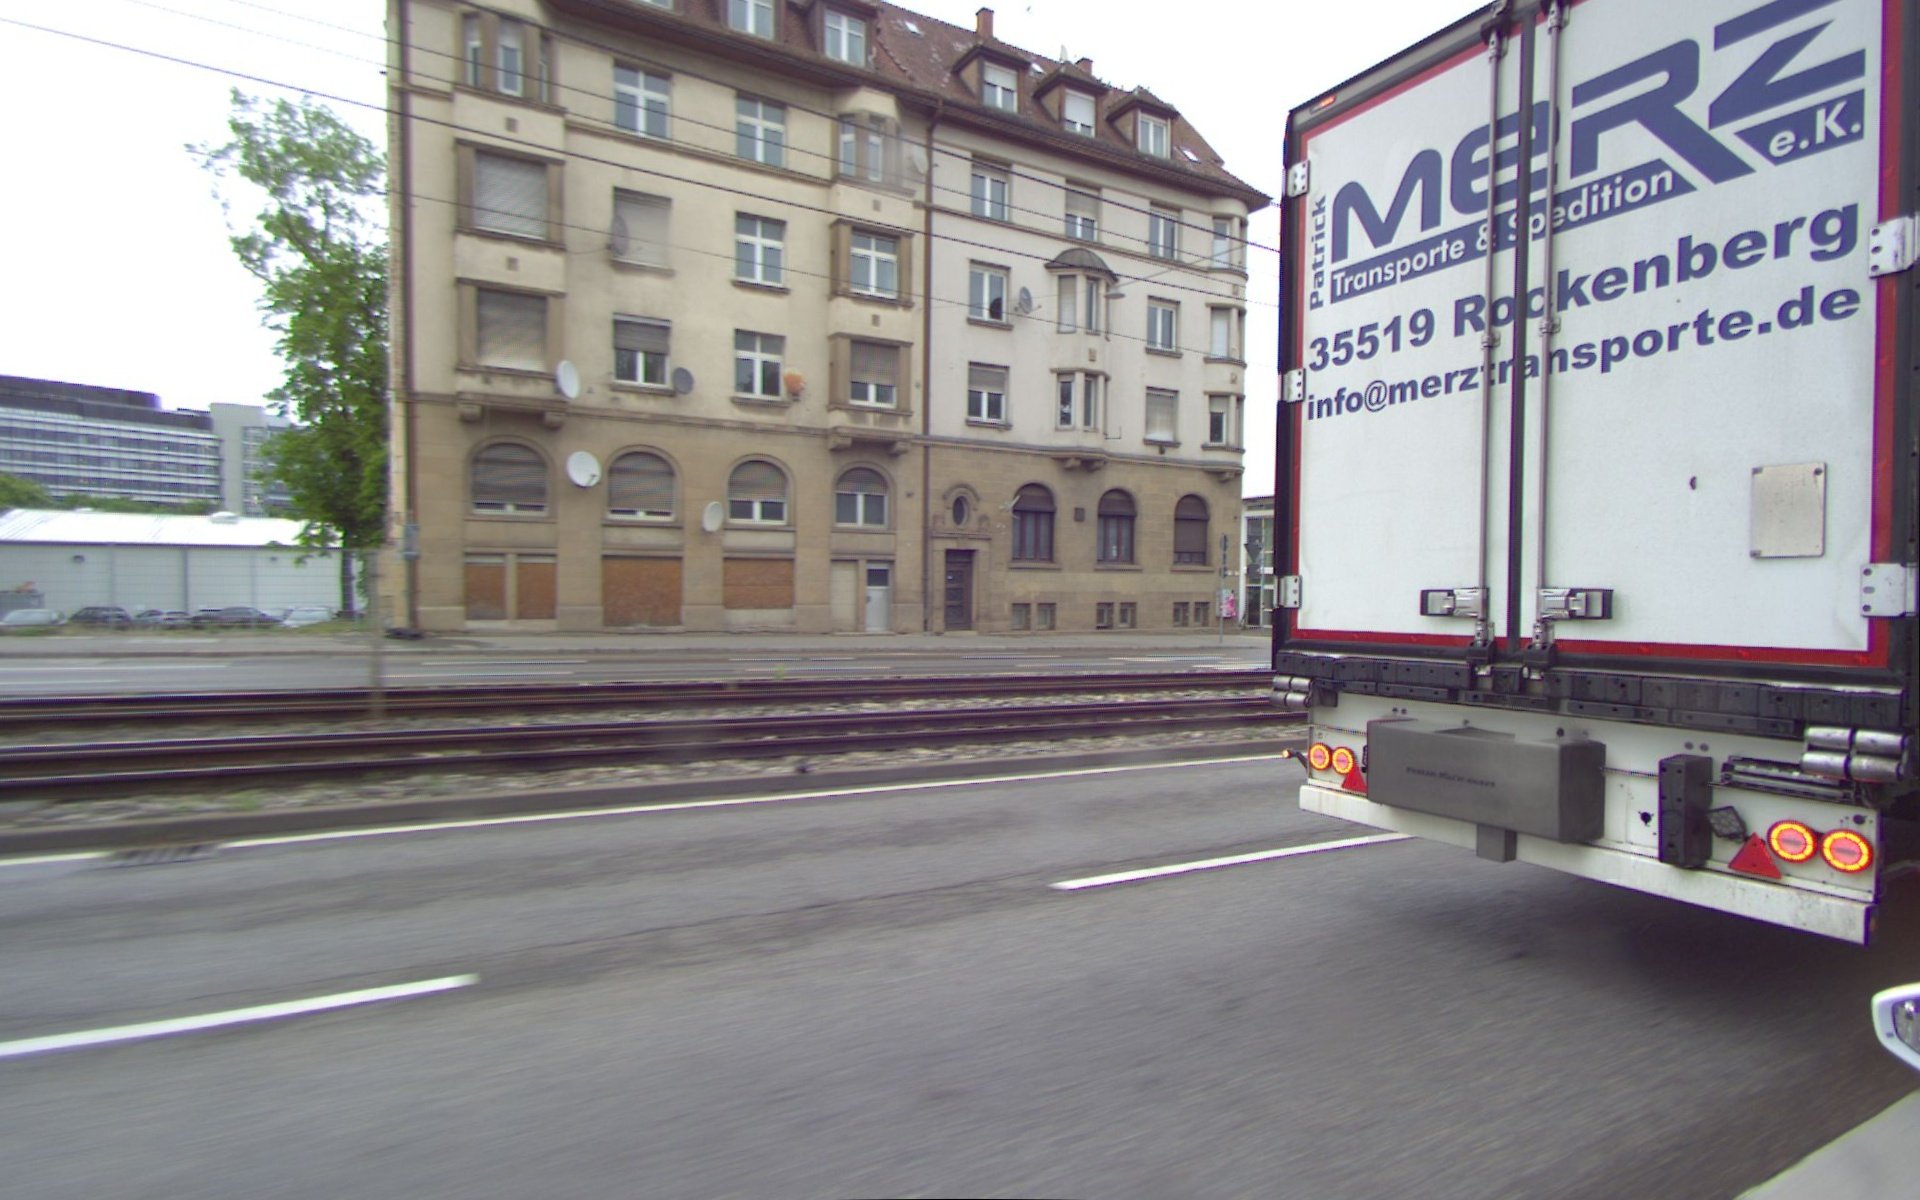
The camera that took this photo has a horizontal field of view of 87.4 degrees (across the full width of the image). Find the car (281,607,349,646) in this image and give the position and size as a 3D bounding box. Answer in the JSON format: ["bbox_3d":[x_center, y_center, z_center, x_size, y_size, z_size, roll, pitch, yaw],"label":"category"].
[{"bbox_3d":[-27.555,1.096,43.019,1.721,1.533,3.979,2,0,-22],"label":"car"}]

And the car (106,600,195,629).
[{"bbox_3d":[-48.454,0.874,60.241,3.959,1.676,1.730,2,0,-34],"label":"car"}]

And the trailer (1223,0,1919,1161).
[{"bbox_3d":[7.695,-0.414,7.390,13.028,4.309,2.749,1,-1,-30],"label":"trailer"}]

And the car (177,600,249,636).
[{"bbox_3d":[-37.496,0.876,50.532,1.719,1.676,3.983,2,0,-19],"label":"car"}]

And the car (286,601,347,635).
[{"bbox_3d":[-33.205,0.900,51.947,1.719,1.676,3.983,2,0,-19],"label":"car"}]
